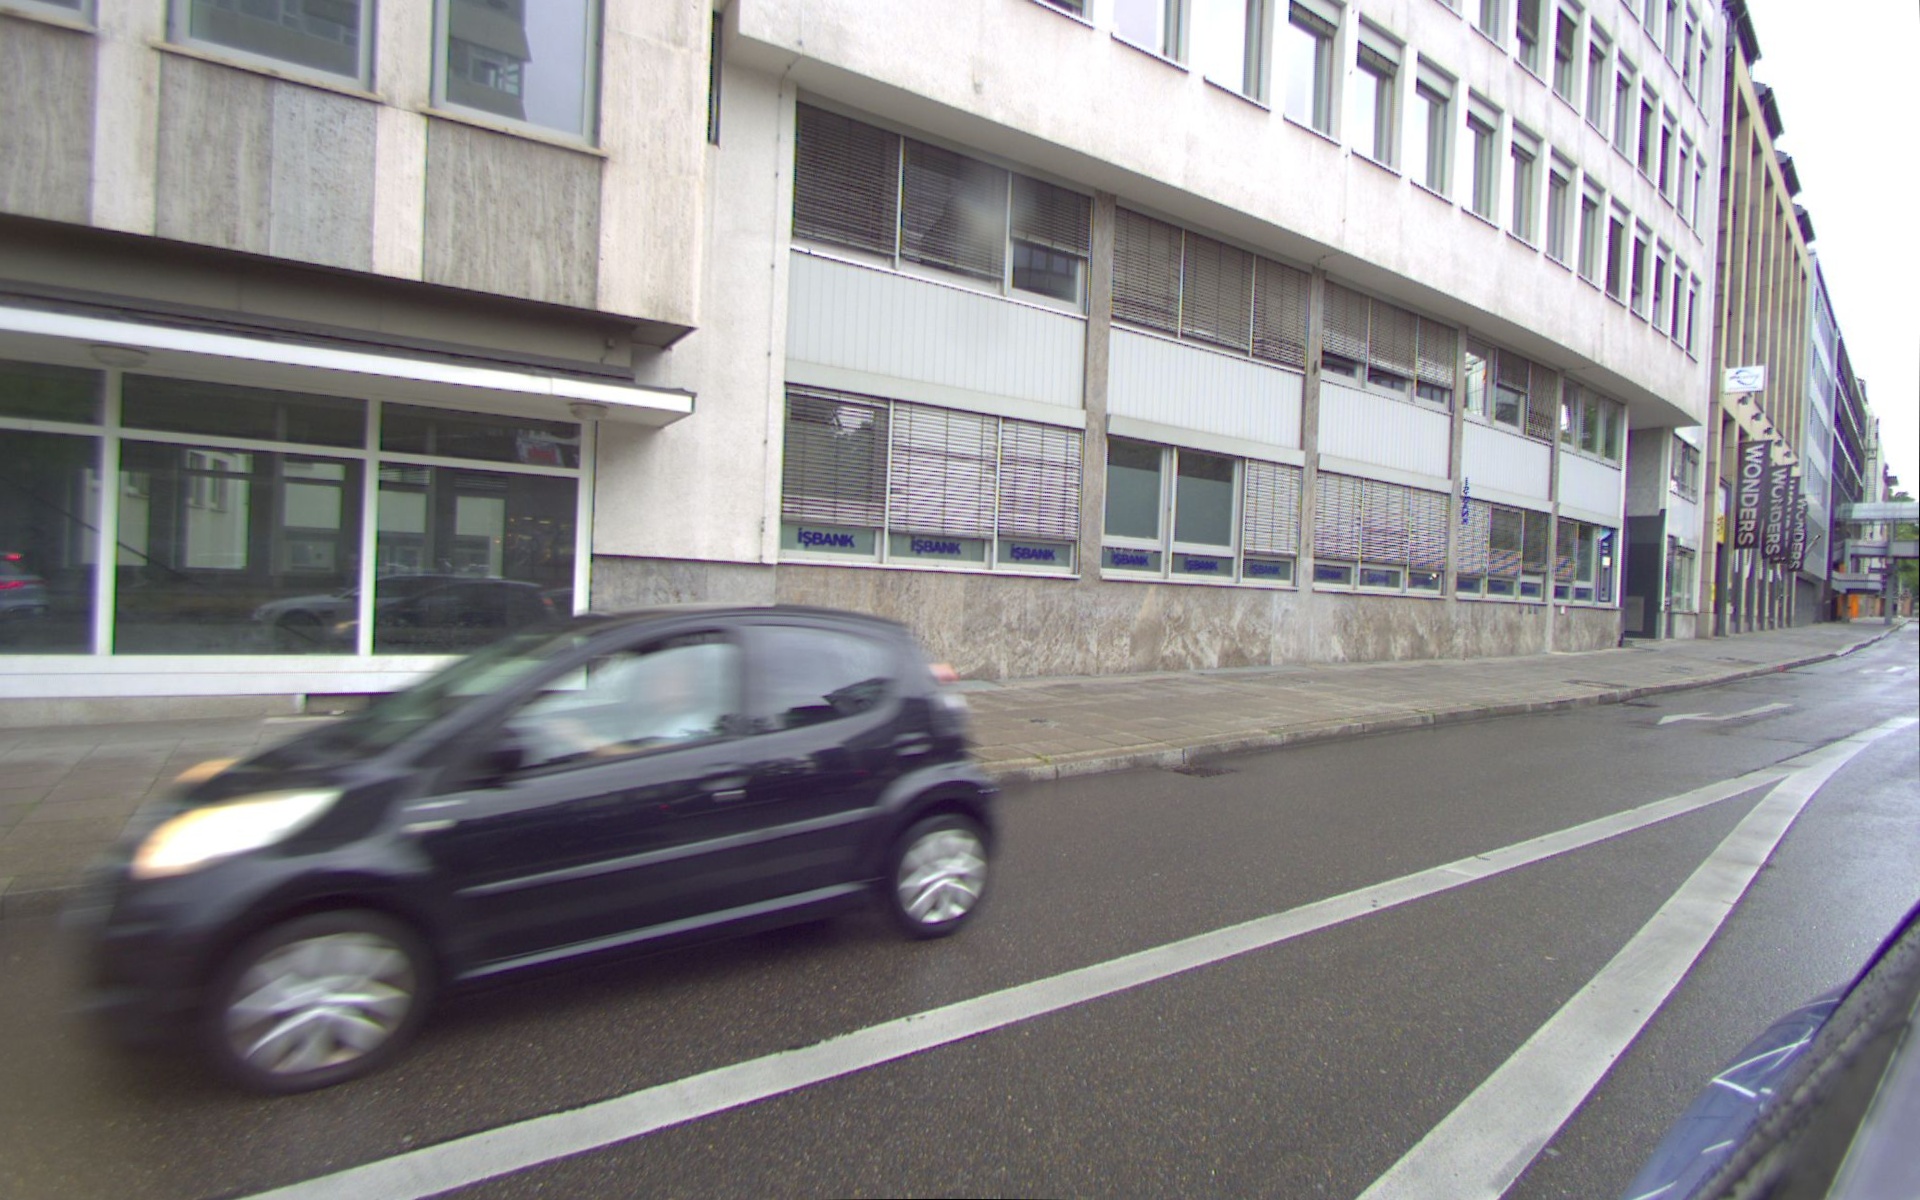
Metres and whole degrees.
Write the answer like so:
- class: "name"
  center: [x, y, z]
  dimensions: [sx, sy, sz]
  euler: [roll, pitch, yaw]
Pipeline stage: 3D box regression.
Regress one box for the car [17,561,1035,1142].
- class: "car"
  center: [-1.525, 0.643, 4.295]
  dimensions: [3.418, 1.491, 1.667]
  euler: [1, 0, -36]
